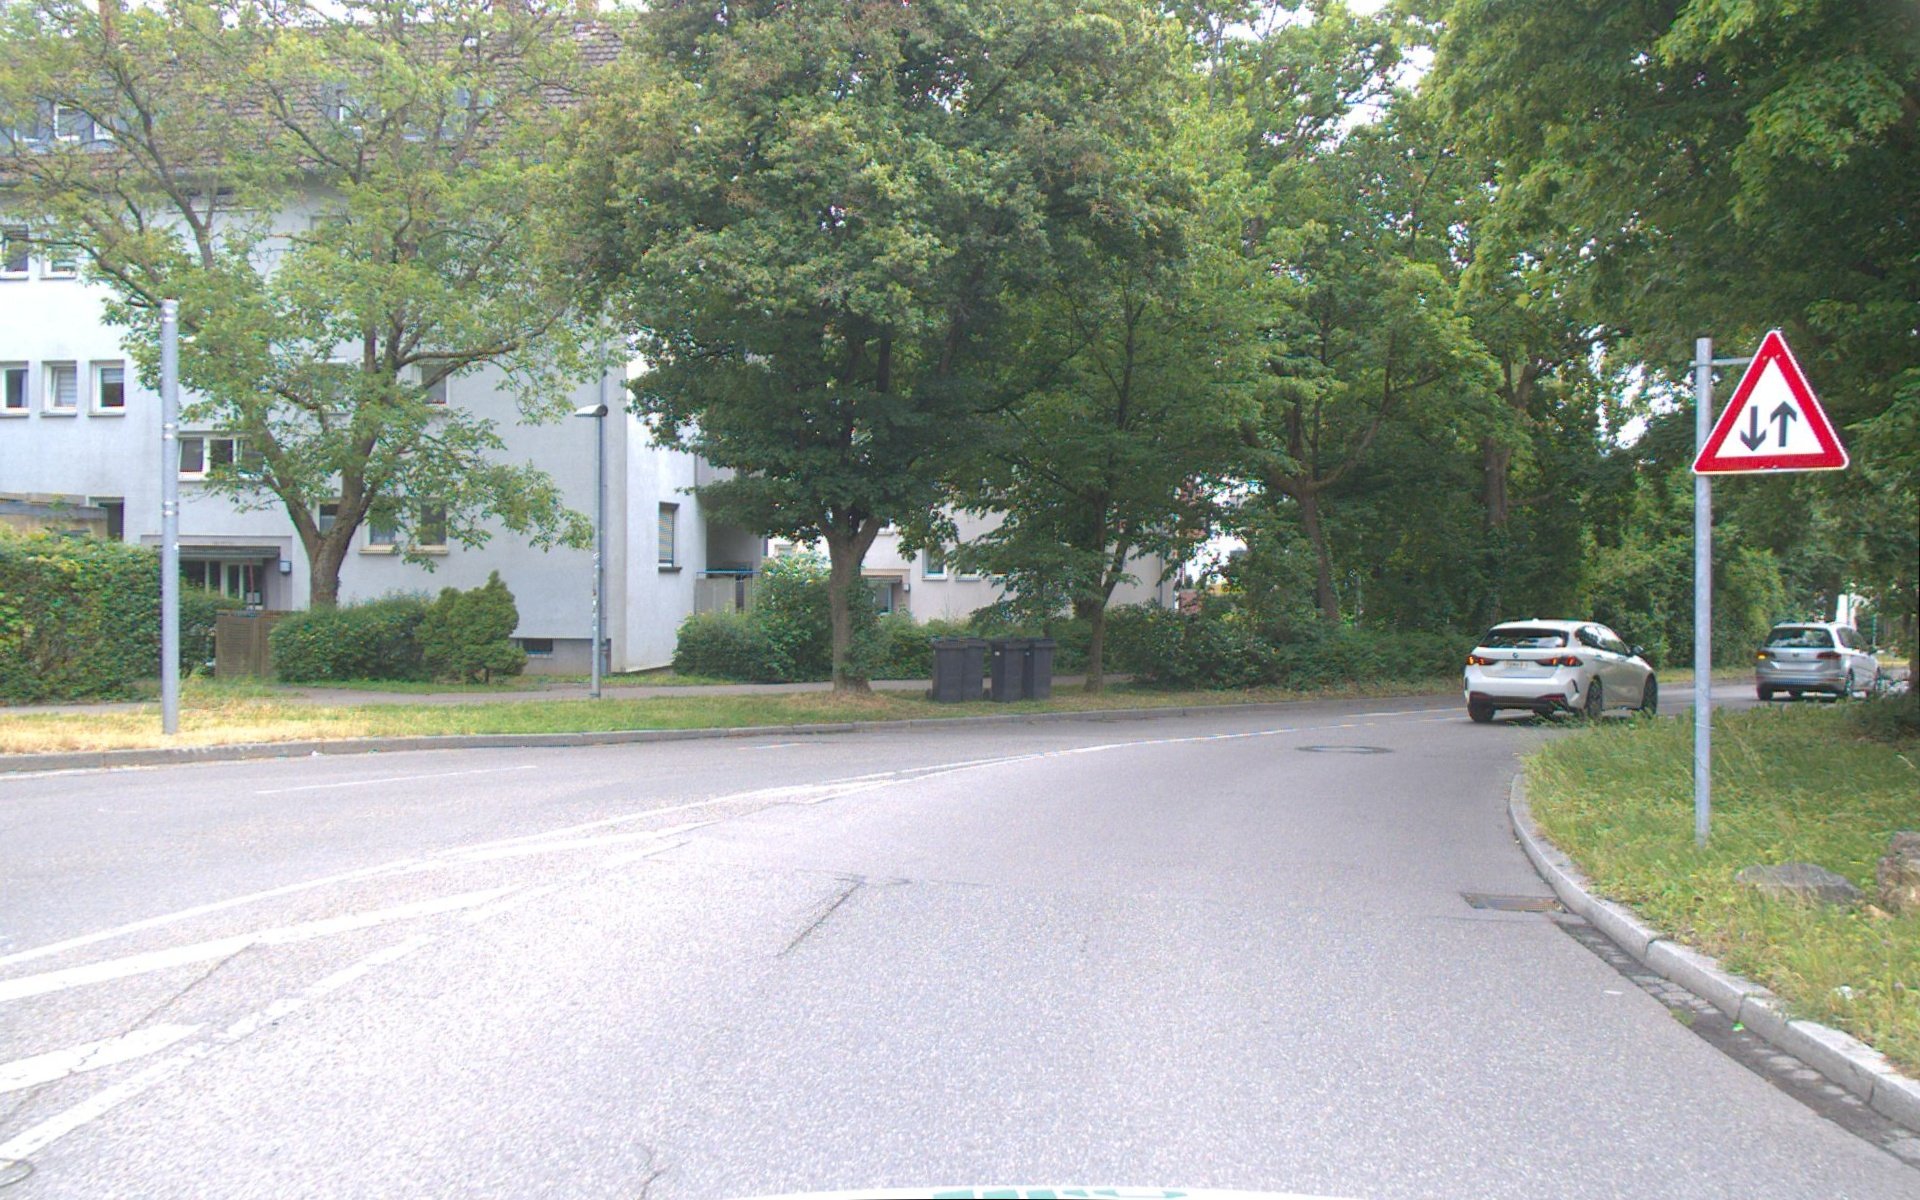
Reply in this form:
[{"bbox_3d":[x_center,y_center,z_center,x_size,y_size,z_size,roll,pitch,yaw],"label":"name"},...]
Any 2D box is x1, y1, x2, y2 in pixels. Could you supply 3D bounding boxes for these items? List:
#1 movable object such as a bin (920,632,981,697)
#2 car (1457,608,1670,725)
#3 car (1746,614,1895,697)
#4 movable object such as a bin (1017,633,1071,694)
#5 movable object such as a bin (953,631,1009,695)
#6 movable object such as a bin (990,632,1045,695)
[{"bbox_3d":[-0.141,0.930,23.932,0.612,0.878,0.725,2,2,-25],"label":"movable object such as a bin"},{"bbox_3d":[9.025,0.955,24.540,1.767,1.544,4.187,1,-1,38],"label":"car"},{"bbox_3d":[18.047,1.121,34.598,1.894,1.601,3.977,1,-1,41],"label":"car"},{"bbox_3d":[1.263,0.953,24.891,0.569,0.859,0.596,2,2,-25],"label":"movable object such as a bin"},{"bbox_3d":[0.302,0.928,24.384,0.583,0.894,0.616,2,2,-25],"label":"movable object such as a bin"},{"bbox_3d":[0.853,0.941,24.629,0.569,0.881,0.596,2,2,-25],"label":"movable object such as a bin"}]
